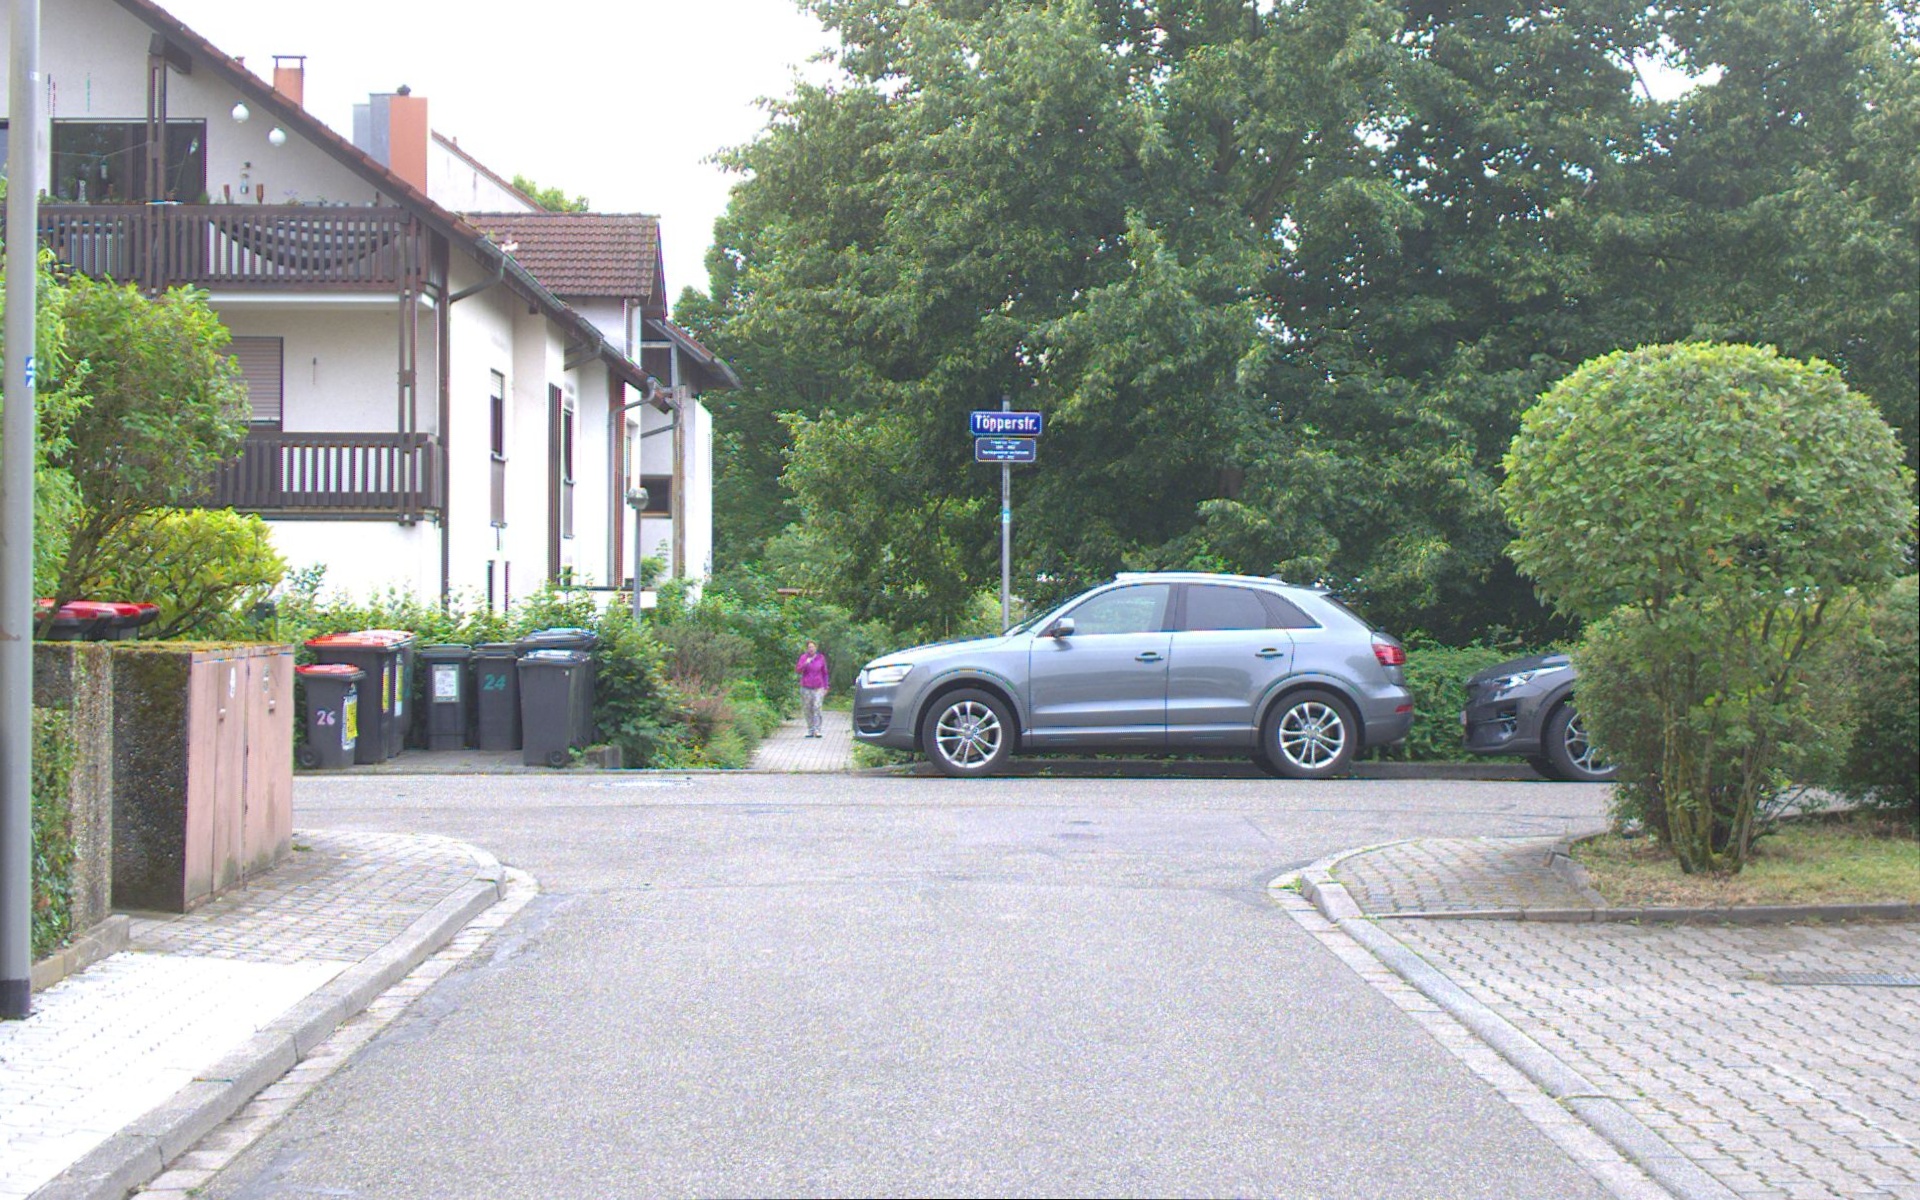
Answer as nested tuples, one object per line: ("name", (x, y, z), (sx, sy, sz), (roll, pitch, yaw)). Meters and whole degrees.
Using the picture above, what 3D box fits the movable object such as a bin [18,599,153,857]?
("movable object such as a bin", (-4.113, 0.594, 16.189), (0.505, 1.183, 0.515), (-1, 0, -2))

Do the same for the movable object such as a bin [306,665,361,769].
("movable object such as a bin", (-5.151, 0.958, 28.275), (0.386, 0.834, 0.379), (1, 0, -3))

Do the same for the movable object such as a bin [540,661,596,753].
("movable object such as a bin", (-3.467, 0.947, 30.440), (0.459, 0.795, 0.379), (1, 0, -3))

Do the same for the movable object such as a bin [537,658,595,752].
("movable object such as a bin", (-3.440, 0.918, 30.029), (0.459, 0.795, 0.379), (1, 0, -3))

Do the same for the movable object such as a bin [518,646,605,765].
("movable object such as a bin", (-3.320, 0.875, 28.674), (0.638, 0.950, 0.723), (1, 0, -2))

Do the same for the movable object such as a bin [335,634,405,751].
("movable object such as a bin", (-5.063, 0.792, 29.531), (0.537, 0.990, 0.337), (1, 0, -3))

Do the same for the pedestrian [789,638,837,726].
("pedestrian", (-2.534, 1.413, 59.336), (0.815, 1.512, 0.438), (0, -1, -3))

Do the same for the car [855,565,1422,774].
("car", (1.321, 0.543, 26.617), (4.237, 1.526, 1.747), (1, -2, -1))

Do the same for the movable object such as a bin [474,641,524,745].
("movable object such as a bin", (-4.048, 0.815, 30.203), (0.386, 0.886, 0.379), (1, 0, -3))

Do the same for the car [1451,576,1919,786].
("car", (5.932, 0.619, 26.257), (4.182, 1.526, 1.747), (0, -2, 4))

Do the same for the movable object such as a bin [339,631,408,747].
("movable object such as a bin", (-5.112, 0.770, 29.984), (0.537, 0.990, 0.337), (1, 0, -3))

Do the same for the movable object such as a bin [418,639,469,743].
("movable object such as a bin", (-4.531, 0.796, 30.180), (0.386, 0.898, 0.379), (1, 0, -3))

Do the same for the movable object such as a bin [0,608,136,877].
("movable object such as a bin", (-4.036, 0.632, 15.528), (0.505, 1.183, 0.515), (-1, 0, -2))

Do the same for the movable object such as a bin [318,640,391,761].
("movable object such as a bin", (-5.069, 0.840, 28.797), (0.537, 0.990, 0.379), (1, 0, -3))
